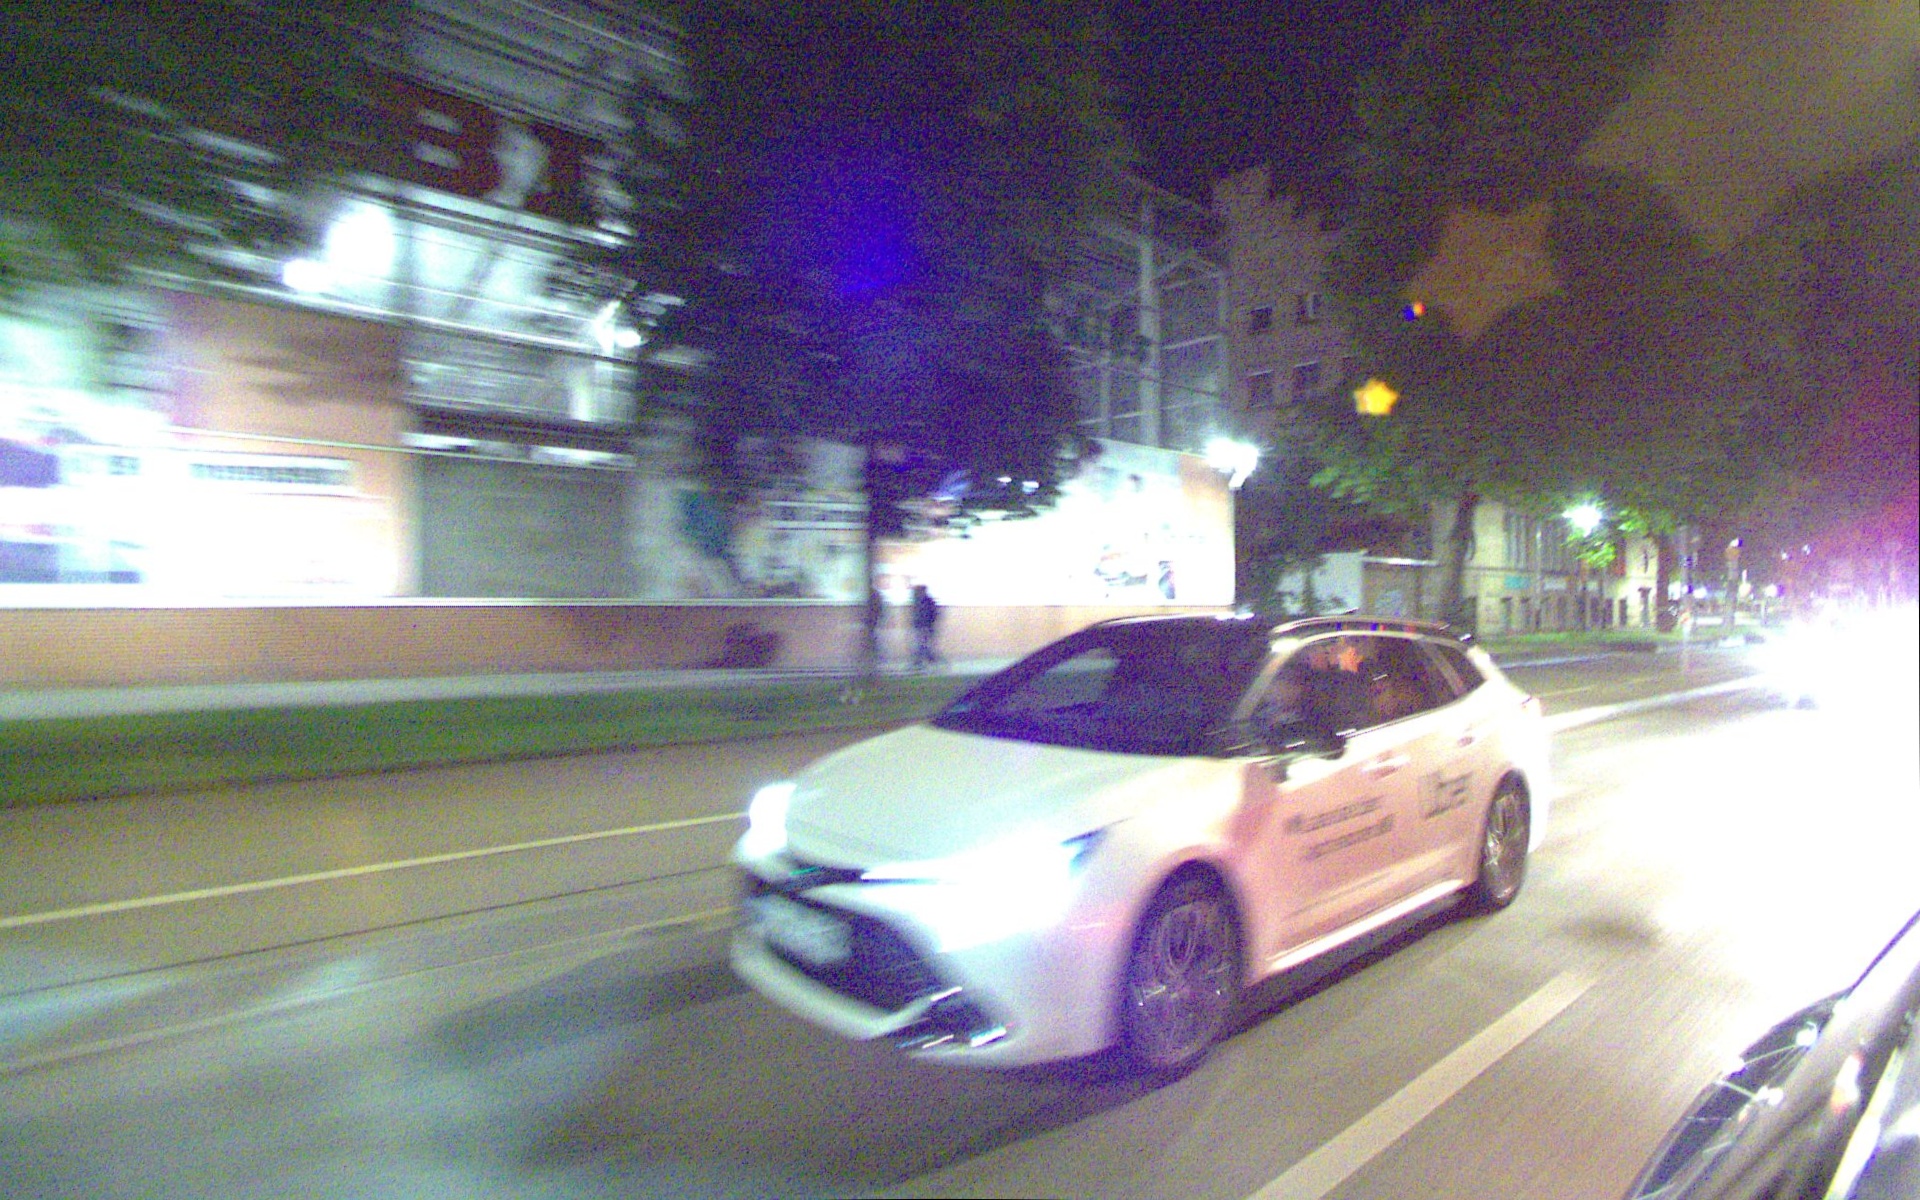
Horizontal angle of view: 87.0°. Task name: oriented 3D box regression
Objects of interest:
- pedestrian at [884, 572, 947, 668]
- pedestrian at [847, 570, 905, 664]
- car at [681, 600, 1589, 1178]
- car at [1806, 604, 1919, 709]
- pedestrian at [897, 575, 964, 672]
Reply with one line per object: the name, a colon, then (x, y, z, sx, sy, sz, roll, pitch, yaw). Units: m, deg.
pedestrian: (-0.857, 0.378, 19.623, 0.953, 1.811, 0.720, 1, 0, -41)
pedestrian: (-1.682, 0.325, 20.211, 0.890, 1.839, 0.675, 1, 0, -41)
car: (1.161, 0.744, 4.661, 4.419, 1.448, 1.727, 1, -1, -41)
car: (14.564, 0.799, 15.747, 3.774, 1.456, 1.632, 0, -1, -42)
pedestrian: (-0.541, 0.423, 18.842, 0.968, 1.738, 0.736, 1, 0, -41)
